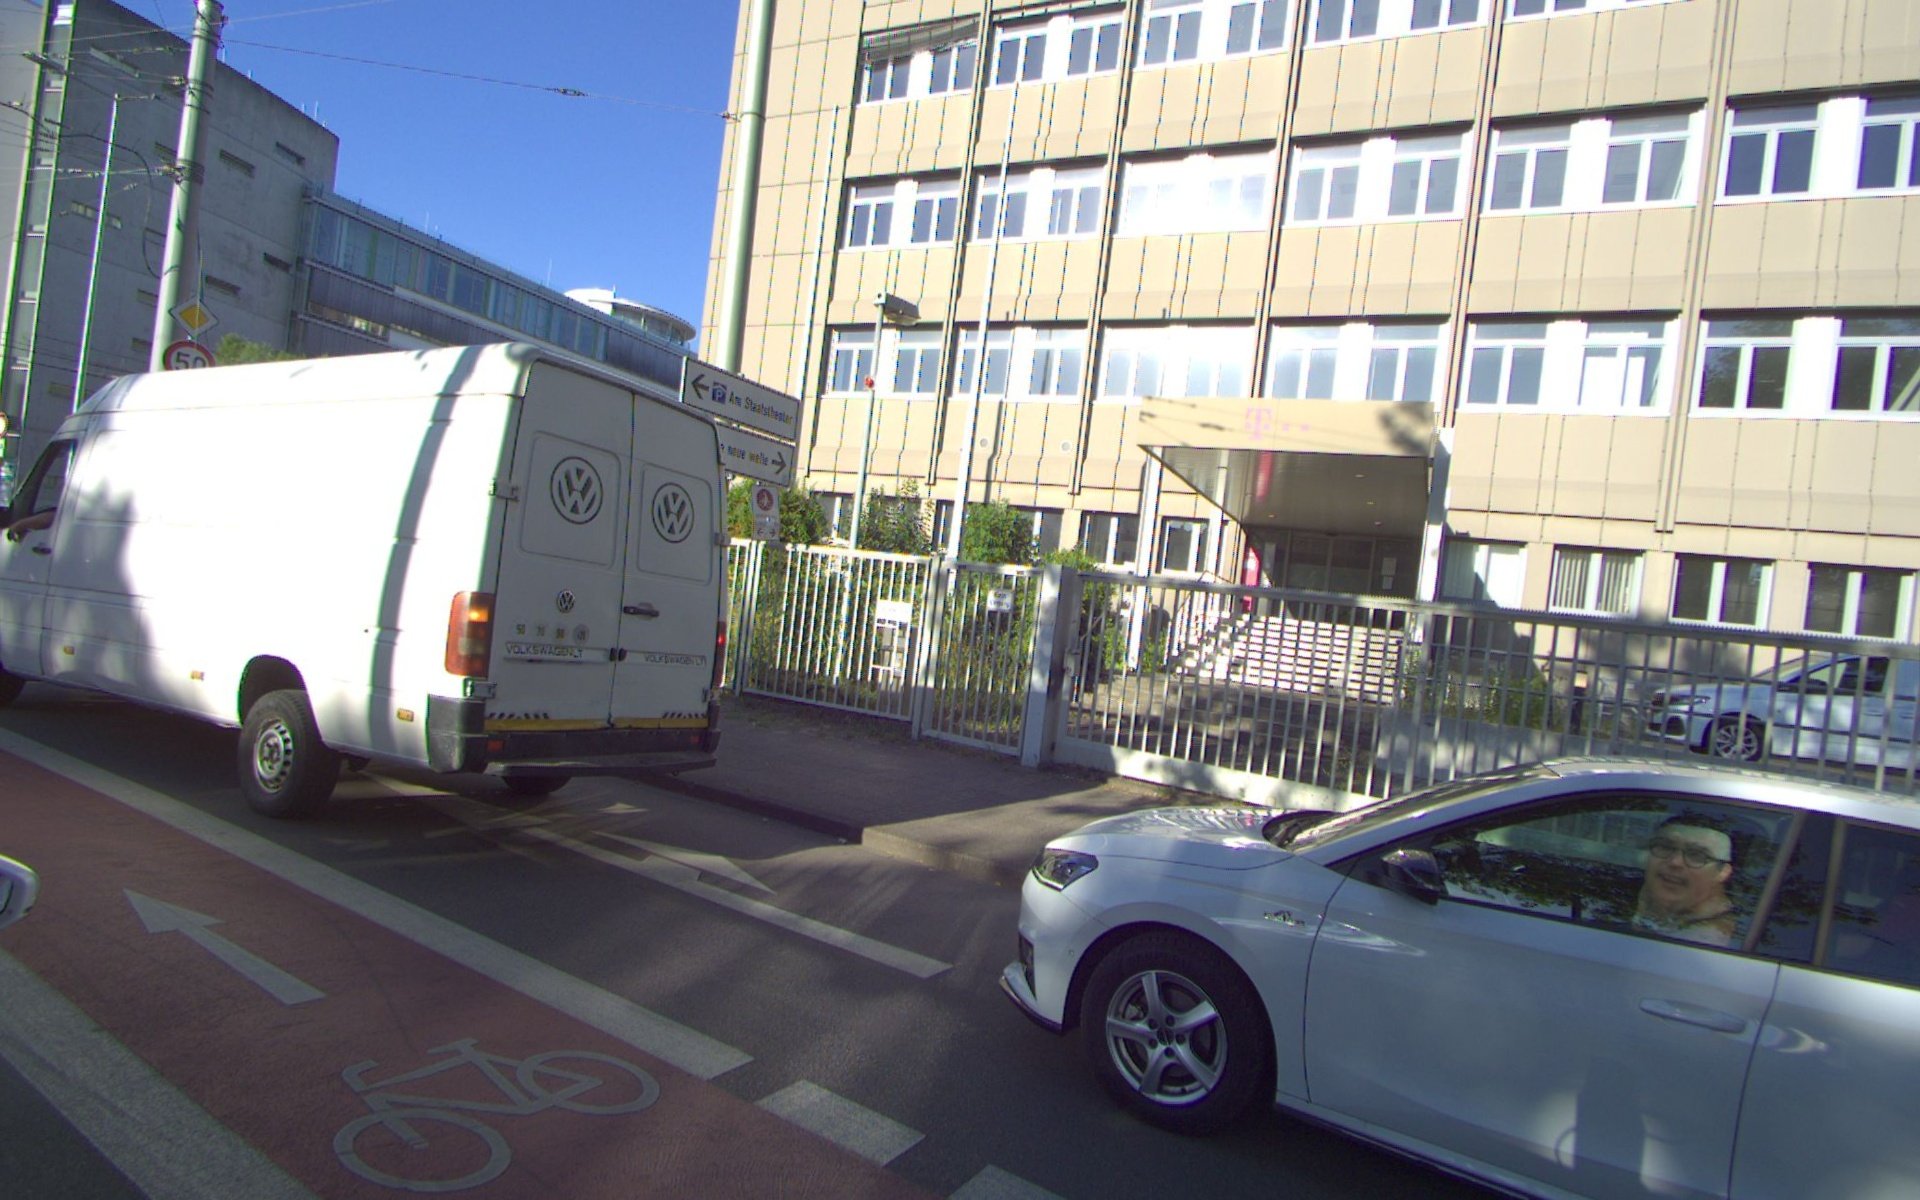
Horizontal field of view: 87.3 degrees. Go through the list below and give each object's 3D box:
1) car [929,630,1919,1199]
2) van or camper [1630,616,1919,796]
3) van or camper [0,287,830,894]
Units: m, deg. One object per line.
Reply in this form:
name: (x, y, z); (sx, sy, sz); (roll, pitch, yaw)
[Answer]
car: (2.102, 1.145, 3.426); (3.914, 1.518, 1.806); (7, -1, 30)
van or camper: (12.249, 1.507, 13.575); (4.911, 1.932, 1.985); (7, 0, 26)
van or camper: (-4.285, -0.259, 6.997); (6.236, 2.764, 2.276); (7, -2, 28)
